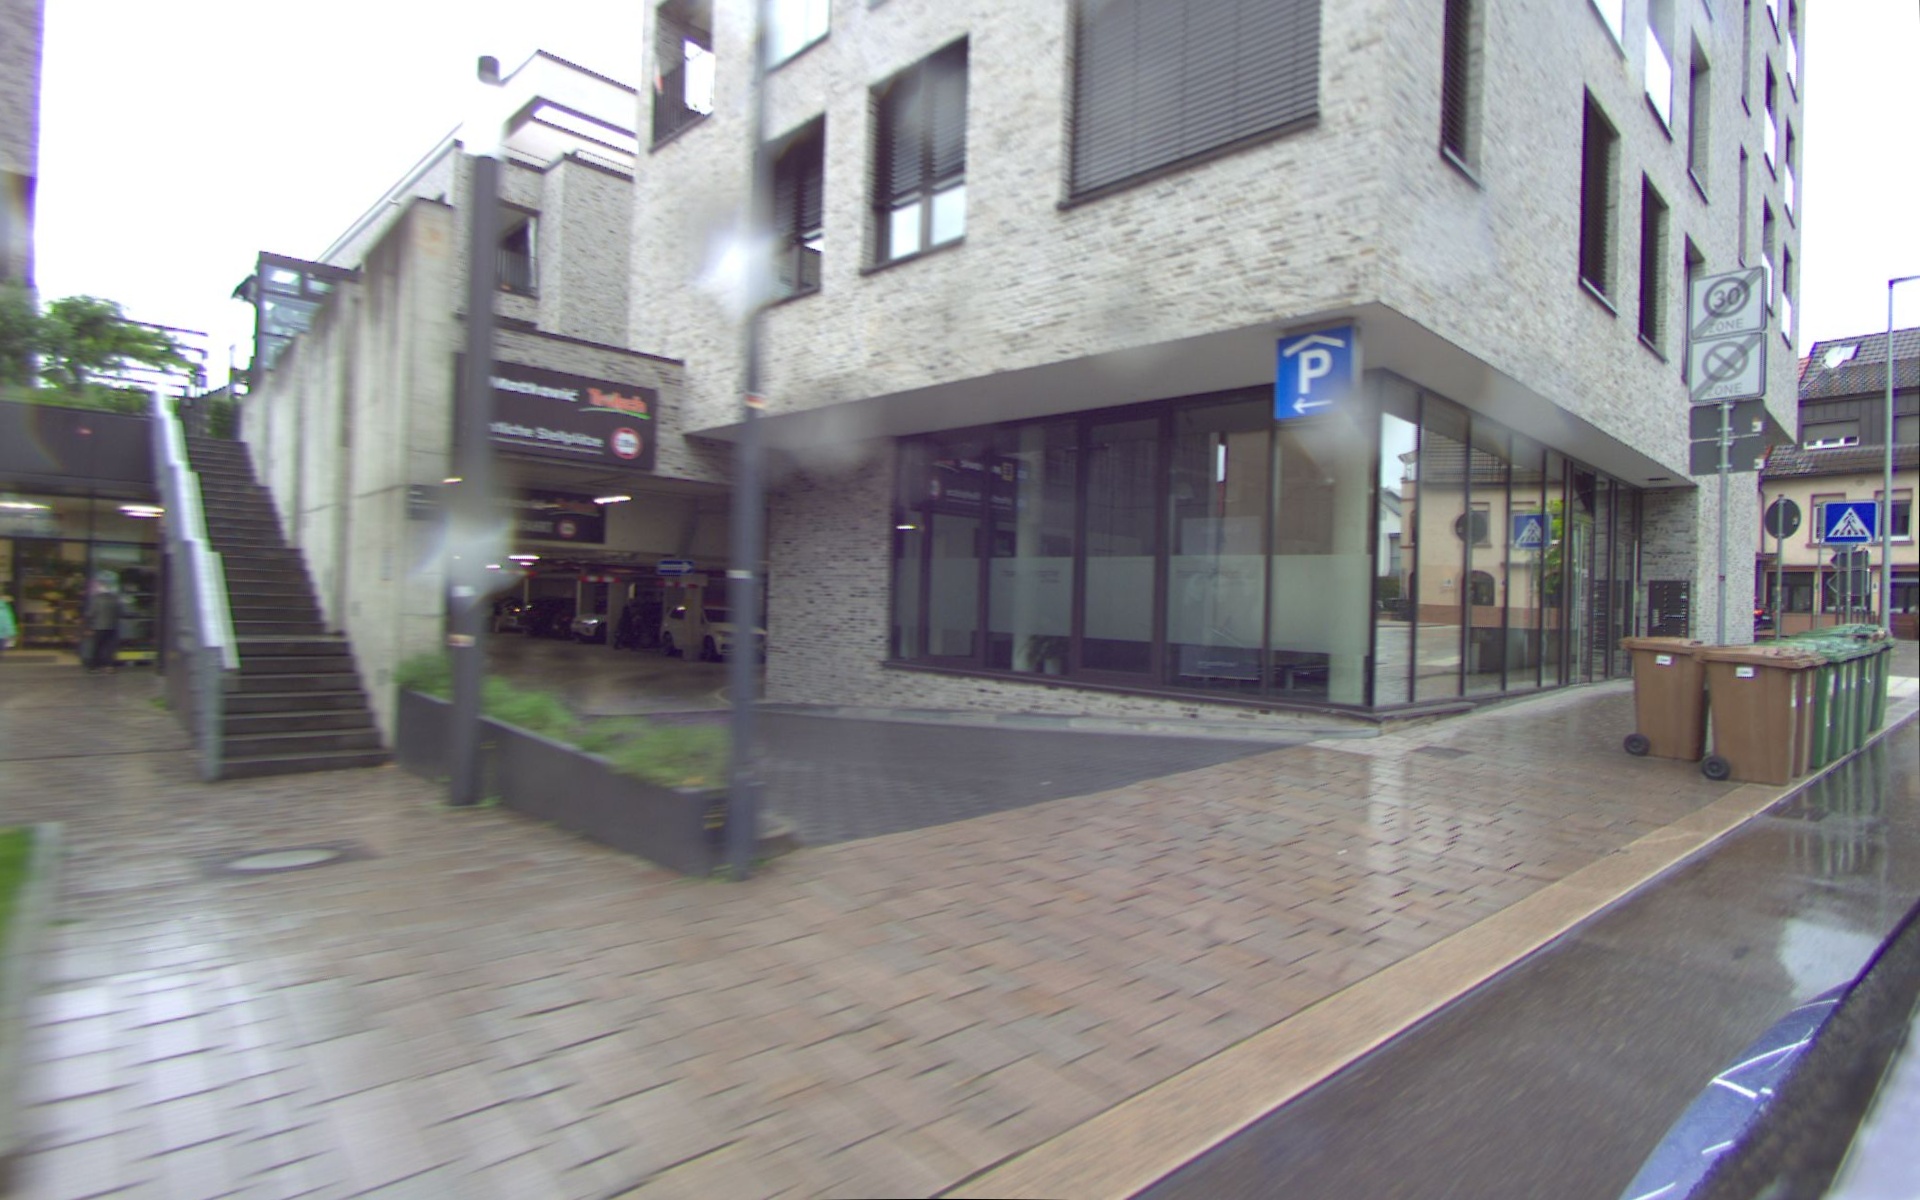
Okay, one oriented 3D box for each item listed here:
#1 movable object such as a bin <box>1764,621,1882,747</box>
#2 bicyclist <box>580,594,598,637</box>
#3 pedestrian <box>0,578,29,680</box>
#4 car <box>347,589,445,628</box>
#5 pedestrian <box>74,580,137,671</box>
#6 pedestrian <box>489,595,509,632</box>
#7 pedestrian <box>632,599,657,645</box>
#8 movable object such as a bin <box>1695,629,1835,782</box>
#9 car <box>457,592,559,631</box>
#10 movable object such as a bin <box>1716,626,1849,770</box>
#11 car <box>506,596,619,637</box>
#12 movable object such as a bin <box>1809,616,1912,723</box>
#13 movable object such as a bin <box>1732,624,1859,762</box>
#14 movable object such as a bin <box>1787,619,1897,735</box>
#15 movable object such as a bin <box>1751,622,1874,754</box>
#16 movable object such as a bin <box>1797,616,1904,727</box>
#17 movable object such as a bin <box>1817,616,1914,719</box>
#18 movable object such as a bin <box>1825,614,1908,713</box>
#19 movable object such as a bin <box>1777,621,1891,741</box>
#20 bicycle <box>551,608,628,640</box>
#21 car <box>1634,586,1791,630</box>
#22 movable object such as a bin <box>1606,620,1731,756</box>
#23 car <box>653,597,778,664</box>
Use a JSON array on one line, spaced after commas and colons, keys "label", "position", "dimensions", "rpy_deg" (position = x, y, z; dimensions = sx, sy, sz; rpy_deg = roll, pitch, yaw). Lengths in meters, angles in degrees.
[{"label": "movable object such as a bin", "position": [8.387, 0.786, 9.843], "dimensions": [0.571, 1.109, 0.767], "rpy_deg": [0, 2, -41]}, {"label": "bicyclist", "position": [-13.781, 0.580, 37.604], "dimensions": [0.520, 1.555, 0.676], "rpy_deg": [2, 2, -25]}, {"label": "pedestrian", "position": [-16.355, 0.478, 17.082], "dimensions": [0.845, 1.675, 0.733], "rpy_deg": [4, 2, 32]}, {"label": "car", "position": [-27.403, 0.382, 49.308], "dimensions": [1.866, 1.637, 3.978], "rpy_deg": [3, 2, 17]}, {"label": "pedestrian", "position": [-15.662, 0.450, 18.548], "dimensions": [0.671, 1.579, 0.731], "rpy_deg": [4, 2, 36]}, {"label": "pedestrian", "position": [-19.974, 0.582, 43.843], "dimensions": [0.563, 1.564, 0.807], "rpy_deg": [1, 2, -38]}, {"label": "pedestrian", "position": [-11.097, 0.758, 35.615], "dimensions": [0.563, 1.564, 0.807], "rpy_deg": [1, 2, -38]}, {"label": "movable object such as a bin", "position": [6.538, 0.823, 8.227], "dimensions": [0.571, 1.109, 0.767], "rpy_deg": [0, 2, -41]}, {"label": "car", "position": [-20.727, 0.502, 46.469], "dimensions": [3.929, 1.637, 1.784], "rpy_deg": [1, 3, -40]}, {"label": "movable object such as a bin", "position": [7.045, 0.809, 8.680], "dimensions": [0.571, 1.109, 0.767], "rpy_deg": [0, 2, -41]}, {"label": "car", "position": [-16.587, 0.666, 42.339], "dimensions": [3.934, 1.526, 1.931], "rpy_deg": [0, 3, -44]}, {"label": "movable object such as a bin", "position": [10.147, 0.761, 11.414], "dimensions": [0.571, 1.109, 0.767], "rpy_deg": [0, 2, -41]}, {"label": "movable object such as a bin", "position": [7.480, 0.801, 9.069], "dimensions": [0.571, 1.109, 0.767], "rpy_deg": [0, 2, -41]}, {"label": "movable object such as a bin", "position": [9.271, 0.782, 10.639], "dimensions": [0.571, 1.109, 0.767], "rpy_deg": [0, 2, -41]}, {"label": "movable object such as a bin", "position": [7.954, 0.791, 9.452], "dimensions": [0.571, 1.109, 0.767], "rpy_deg": [0, 2, -41]}, {"label": "movable object such as a bin", "position": [9.698, 0.756, 11.026], "dimensions": [0.571, 1.109, 0.767], "rpy_deg": [0, 2, -41]}, {"label": "movable object such as a bin", "position": [10.565, 0.761, 11.810], "dimensions": [0.646, 1.109, 0.741], "rpy_deg": [0, 2, -42]}, {"label": "movable object such as a bin", "position": [10.992, 0.750, 12.272], "dimensions": [0.542, 1.109, 0.664], "rpy_deg": [0, 2, -43]}, {"label": "movable object such as a bin", "position": [8.839, 0.791, 10.237], "dimensions": [0.571, 1.109, 0.767], "rpy_deg": [0, 2, -41]}, {"label": "bicycle", "position": [-13.761, 0.913, 37.630], "dimensions": [2.605, 1.103, 0.703], "rpy_deg": [2, 2, -25]}, {"label": "car", "position": [28.435, 0.281, 38.388], "dimensions": [1.637, 1.448, 4.474], "rpy_deg": [2, 1, -30]}, {"label": "movable object such as a bin", "position": [6.399, 0.760, 9.148], "dimensions": [0.616, 1.109, 0.767], "rpy_deg": [0, 2, -41]}, {"label": "car", "position": [-7.794, 0.892, 31.929], "dimensions": [1.855, 1.669, 4.595], "rpy_deg": [1, 3, -42]}]
